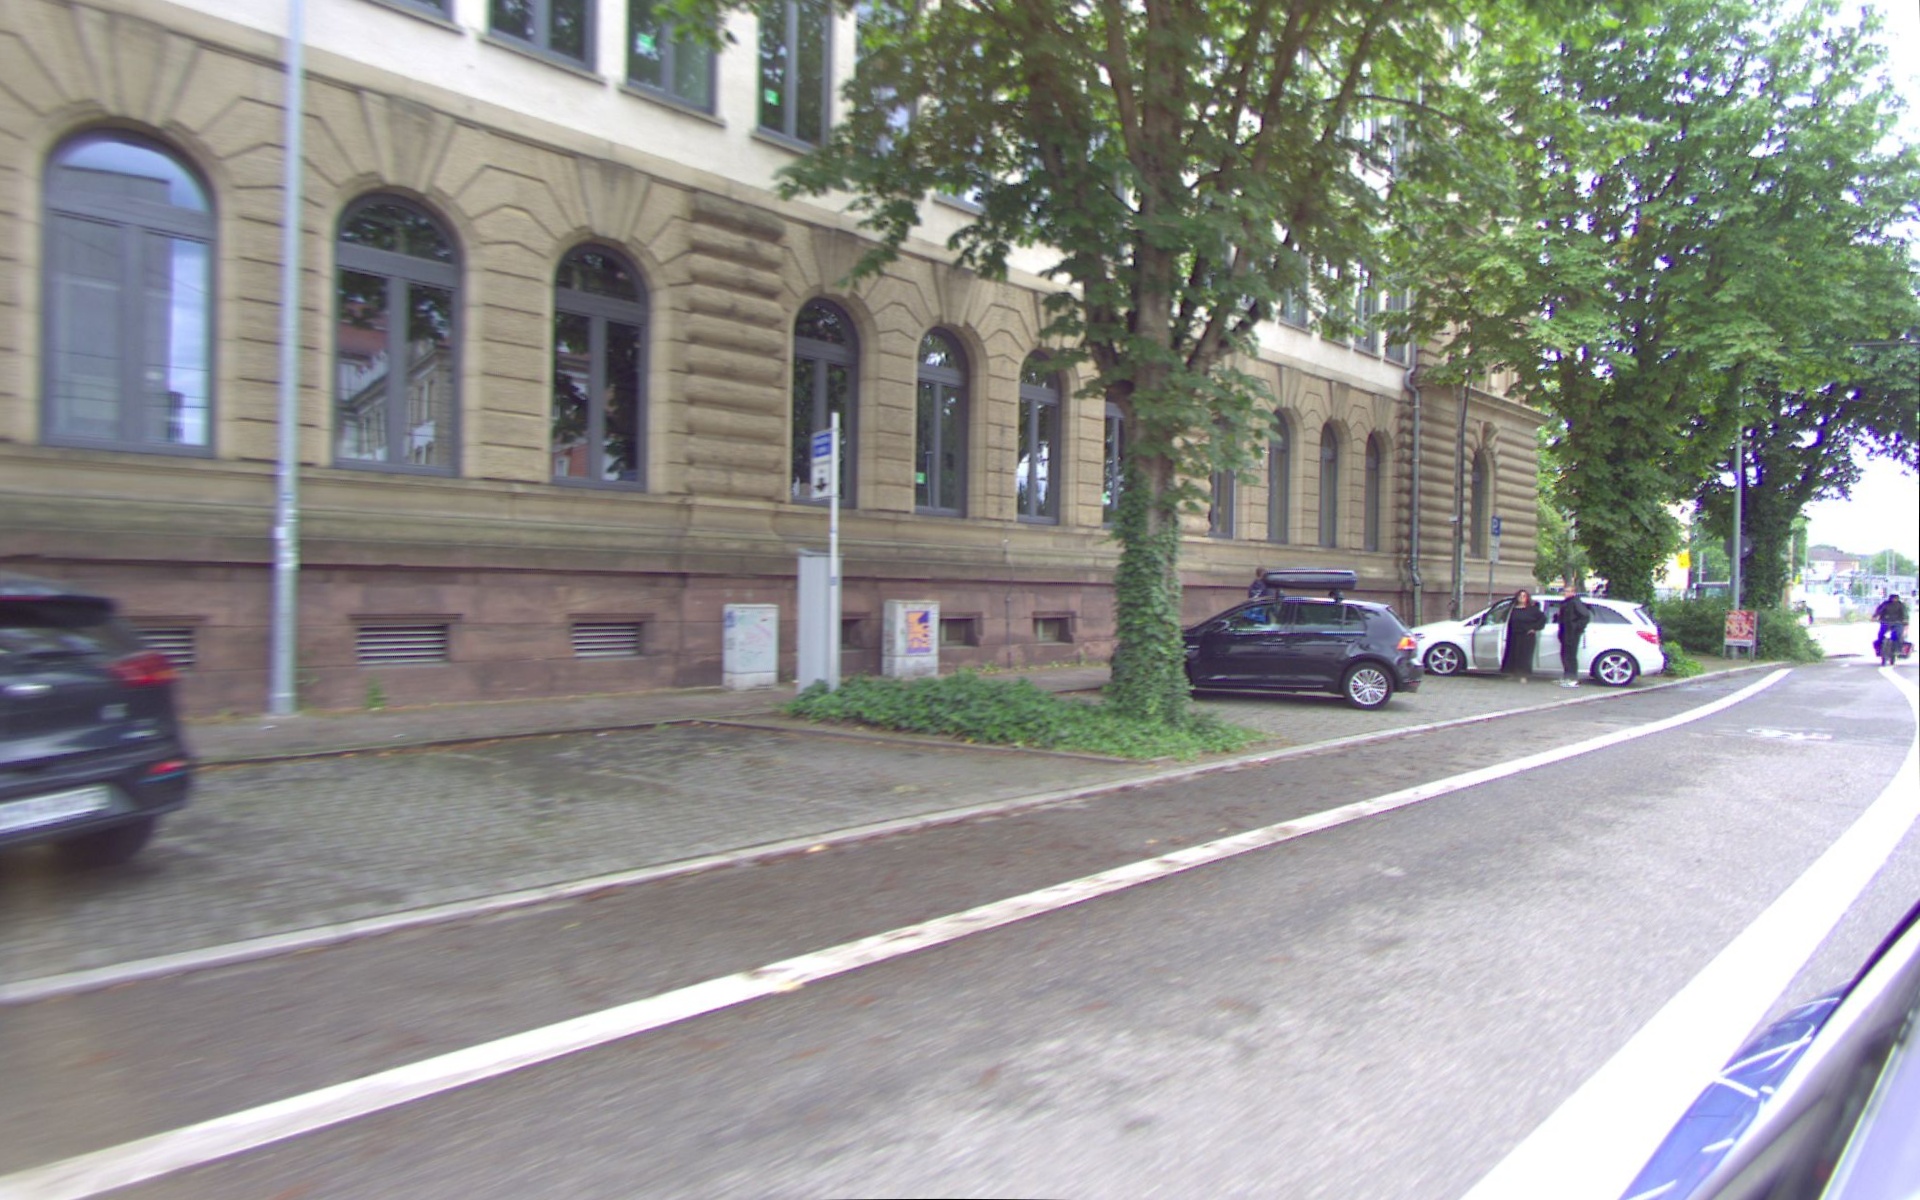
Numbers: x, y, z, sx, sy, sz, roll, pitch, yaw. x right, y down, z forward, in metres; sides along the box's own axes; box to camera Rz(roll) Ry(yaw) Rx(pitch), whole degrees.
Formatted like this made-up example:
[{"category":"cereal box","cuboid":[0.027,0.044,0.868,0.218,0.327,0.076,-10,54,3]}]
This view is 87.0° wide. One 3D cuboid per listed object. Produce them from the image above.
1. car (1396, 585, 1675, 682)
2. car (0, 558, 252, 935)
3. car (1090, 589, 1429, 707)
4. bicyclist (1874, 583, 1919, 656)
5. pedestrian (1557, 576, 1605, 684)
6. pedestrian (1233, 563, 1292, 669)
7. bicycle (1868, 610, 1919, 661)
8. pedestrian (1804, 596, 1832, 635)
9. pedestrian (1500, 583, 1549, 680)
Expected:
[{"category":"car","cuboid":[10.431,0.544,18.694,4.284,1.571,1.734,1,0,27]},{"category":"car","cuboid":[-5.814,0.551,4.857,3.942,1.558,1.856,2,1,15]},{"category":"car","cuboid":[4.077,0.583,14.176,4.271,1.420,1.745,1,1,17]},{"category":"bicyclist","cuboid":[24.508,0.514,26.196,1.449,1.845,0.883,2,-1,-33]},{"category":"pedestrian","cuboid":[10.500,0.486,17.120,0.681,1.773,0.607,0,0,32]},{"category":"pedestrian","cuboid":[5.501,0.279,18.405,0.738,1.861,0.680,0,2,-41]},{"category":"bicycle","cuboid":[24.424,0.913,26.151,2.264,1.257,0.854,1,-1,-33]},{"category":"pedestrian","cuboid":[39.693,0.707,46.818,0.912,1.730,1.143,1,0,37]},{"category":"pedestrian","cuboid":[9.854,0.526,17.654,0.641,1.646,0.583,0,0,41]}]
